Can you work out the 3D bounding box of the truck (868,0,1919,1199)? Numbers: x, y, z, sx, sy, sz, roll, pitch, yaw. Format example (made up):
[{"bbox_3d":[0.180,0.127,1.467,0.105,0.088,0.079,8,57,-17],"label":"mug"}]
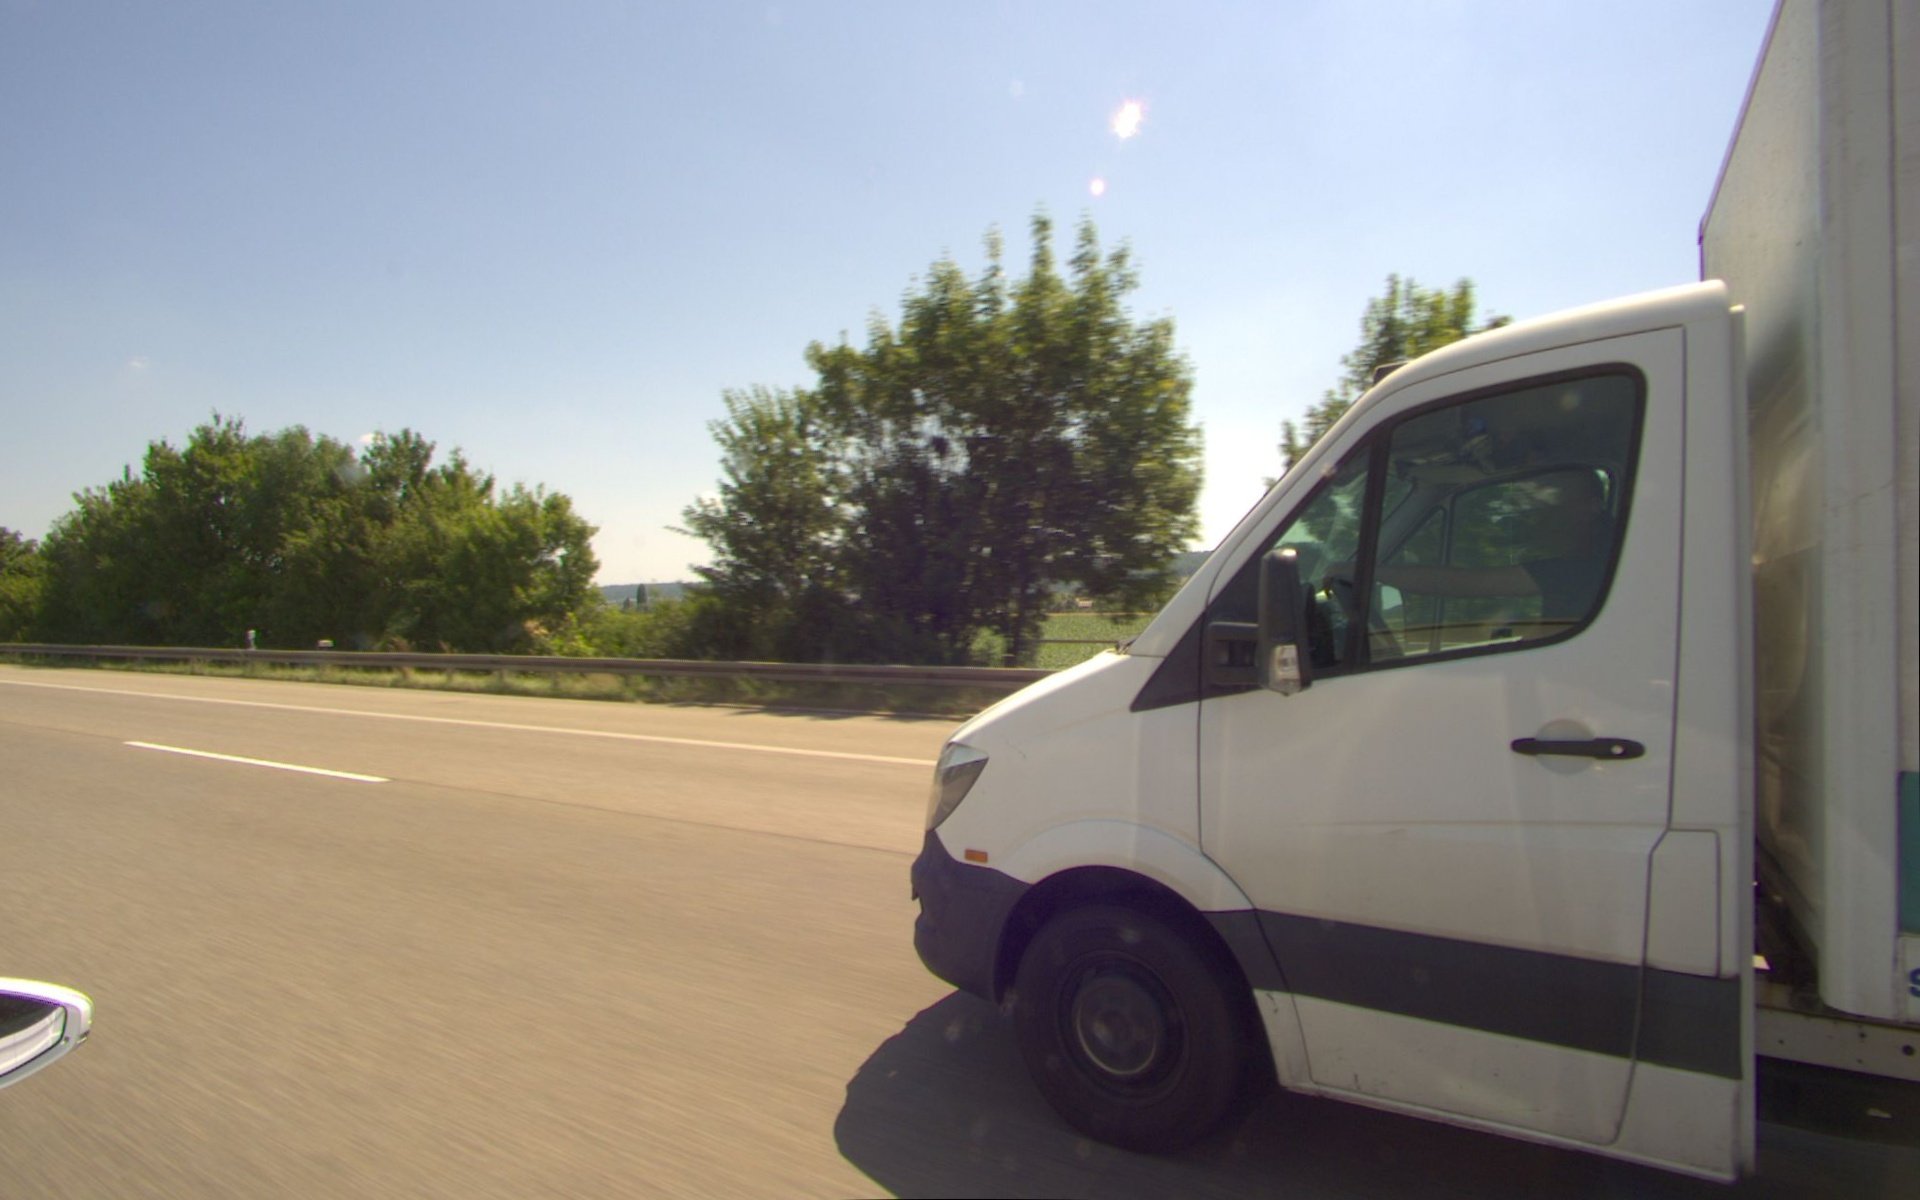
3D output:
[{"bbox_3d":[3.145,-0.033,2.293,6.653,3.107,2.317,0,-1,32],"label":"truck"}]
